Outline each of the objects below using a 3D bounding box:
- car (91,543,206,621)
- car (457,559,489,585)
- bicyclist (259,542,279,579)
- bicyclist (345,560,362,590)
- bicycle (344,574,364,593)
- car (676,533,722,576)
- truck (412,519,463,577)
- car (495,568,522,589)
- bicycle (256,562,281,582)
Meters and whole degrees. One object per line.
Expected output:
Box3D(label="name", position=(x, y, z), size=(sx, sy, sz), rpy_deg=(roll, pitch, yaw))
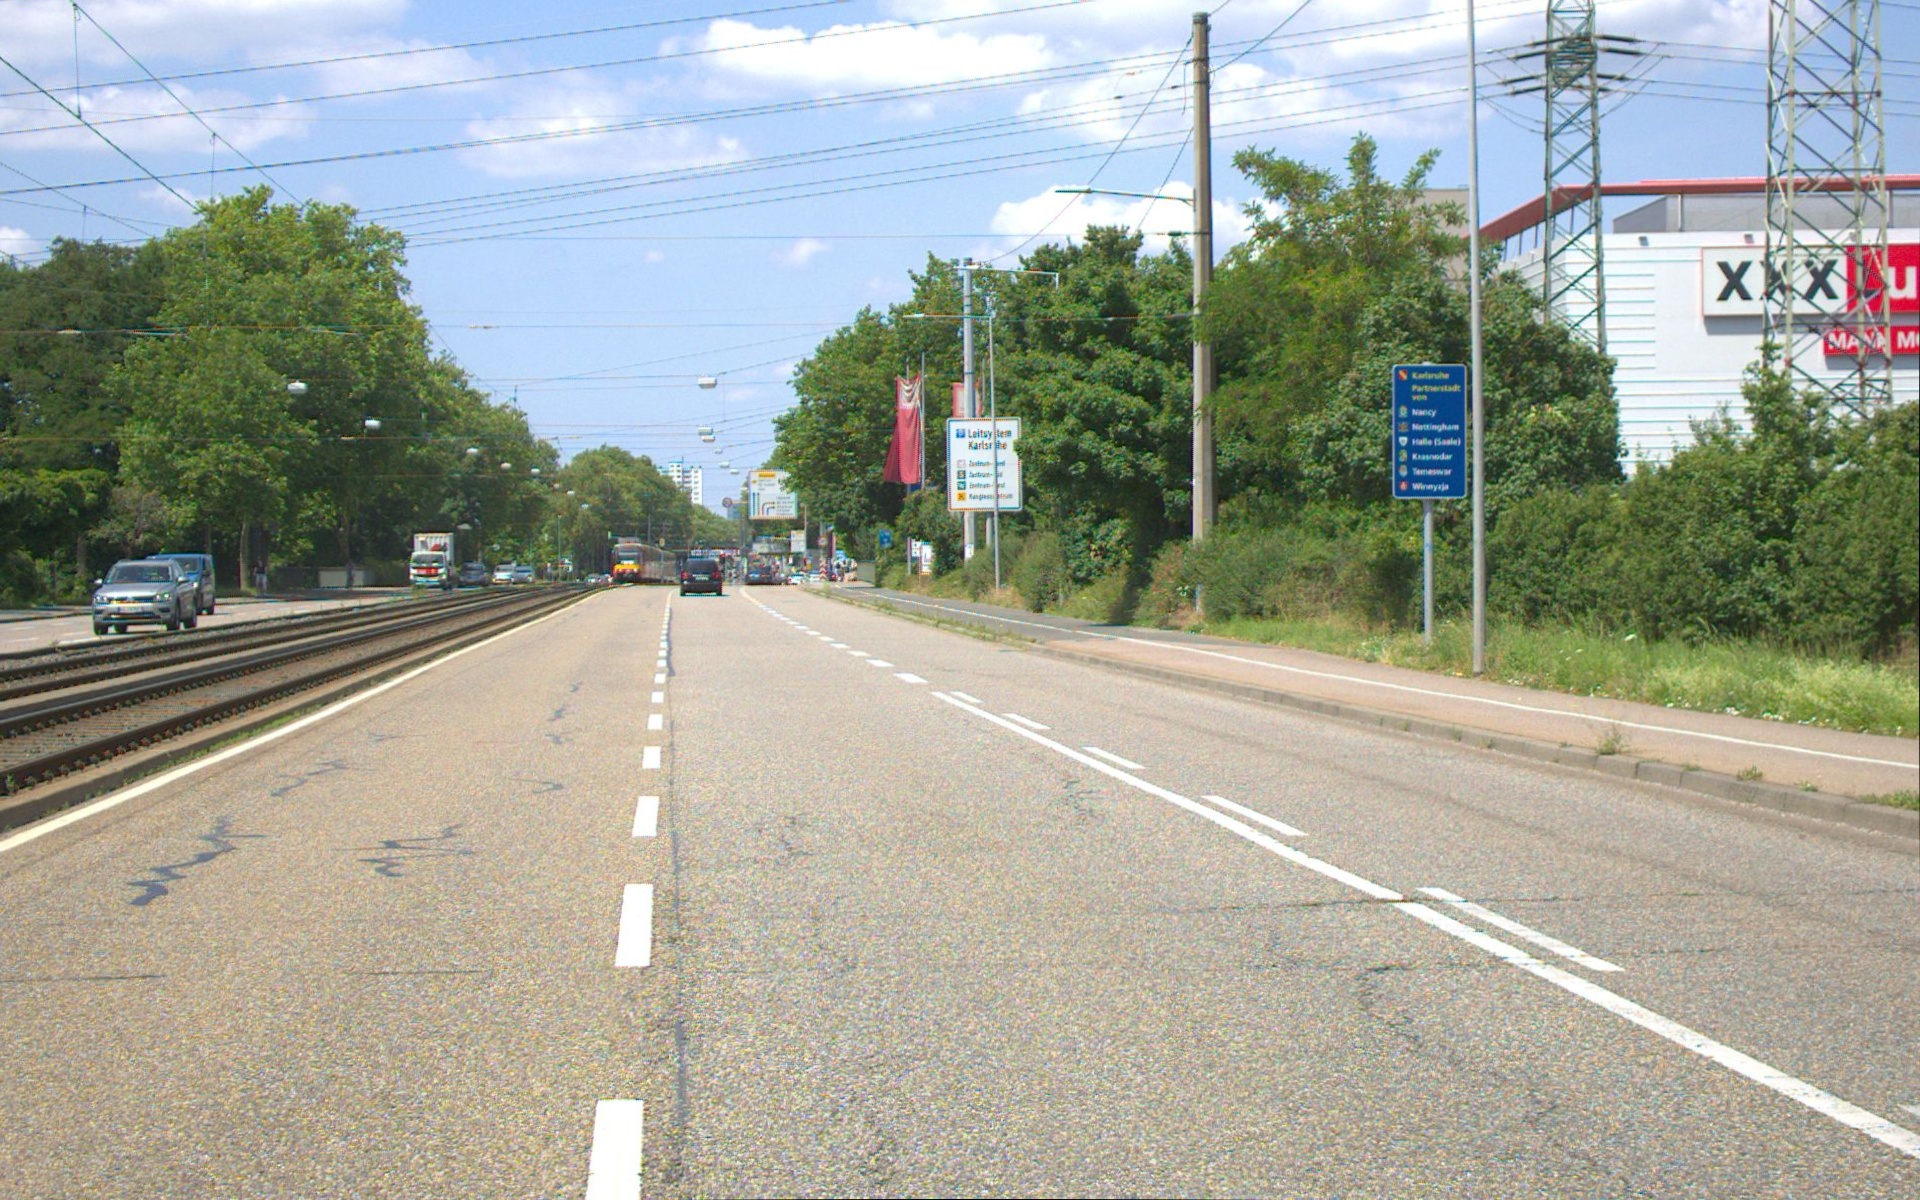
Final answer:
Box3D(label="car", position=(-18.138, -0.431, 76.986), size=(1.801, 1.619, 4.495), rpy_deg=(-2, 1, -5))
Box3D(label="car", position=(-31.026, -1.778, 219.075), size=(1.752, 1.530, 3.958), rpy_deg=(-2, 1, -6))
Box3D(label="bicyclist", position=(-30.509, -1.730, 151.724), size=(0.650, 1.614, 1.155), rpy_deg=(1, 1, -1))
Box3D(label="bicyclist", position=(-32.287, -1.327, 183.023), size=(0.623, 1.612, 1.062), rpy_deg=(1, 1, 1))
Box3D(label="bicycle", position=(-32.286, -0.871, 183.132), size=(0.623, 0.976, 2.055), rpy_deg=(2, 1, 1))
Box3D(label="car", position=(-11.097, -1.929, 146.009), size=(1.899, 1.799, 3.977), rpy_deg=(1, 0, -5))
Box3D(label="truck", position=(-29.841, -2.988, 196.596), size=(2.249, 3.225, 6.043), rpy_deg=(-1, 1, -3))
Box3D(label="car", position=(-32.760, -1.592, 249.326), size=(1.636, 1.417, 4.128), rpy_deg=(-2, 1, -4))
Box3D(label="bicycle", position=(-30.533, -1.229, 151.824), size=(0.650, 0.856, 2.120), rpy_deg=(1, 1, -1))
